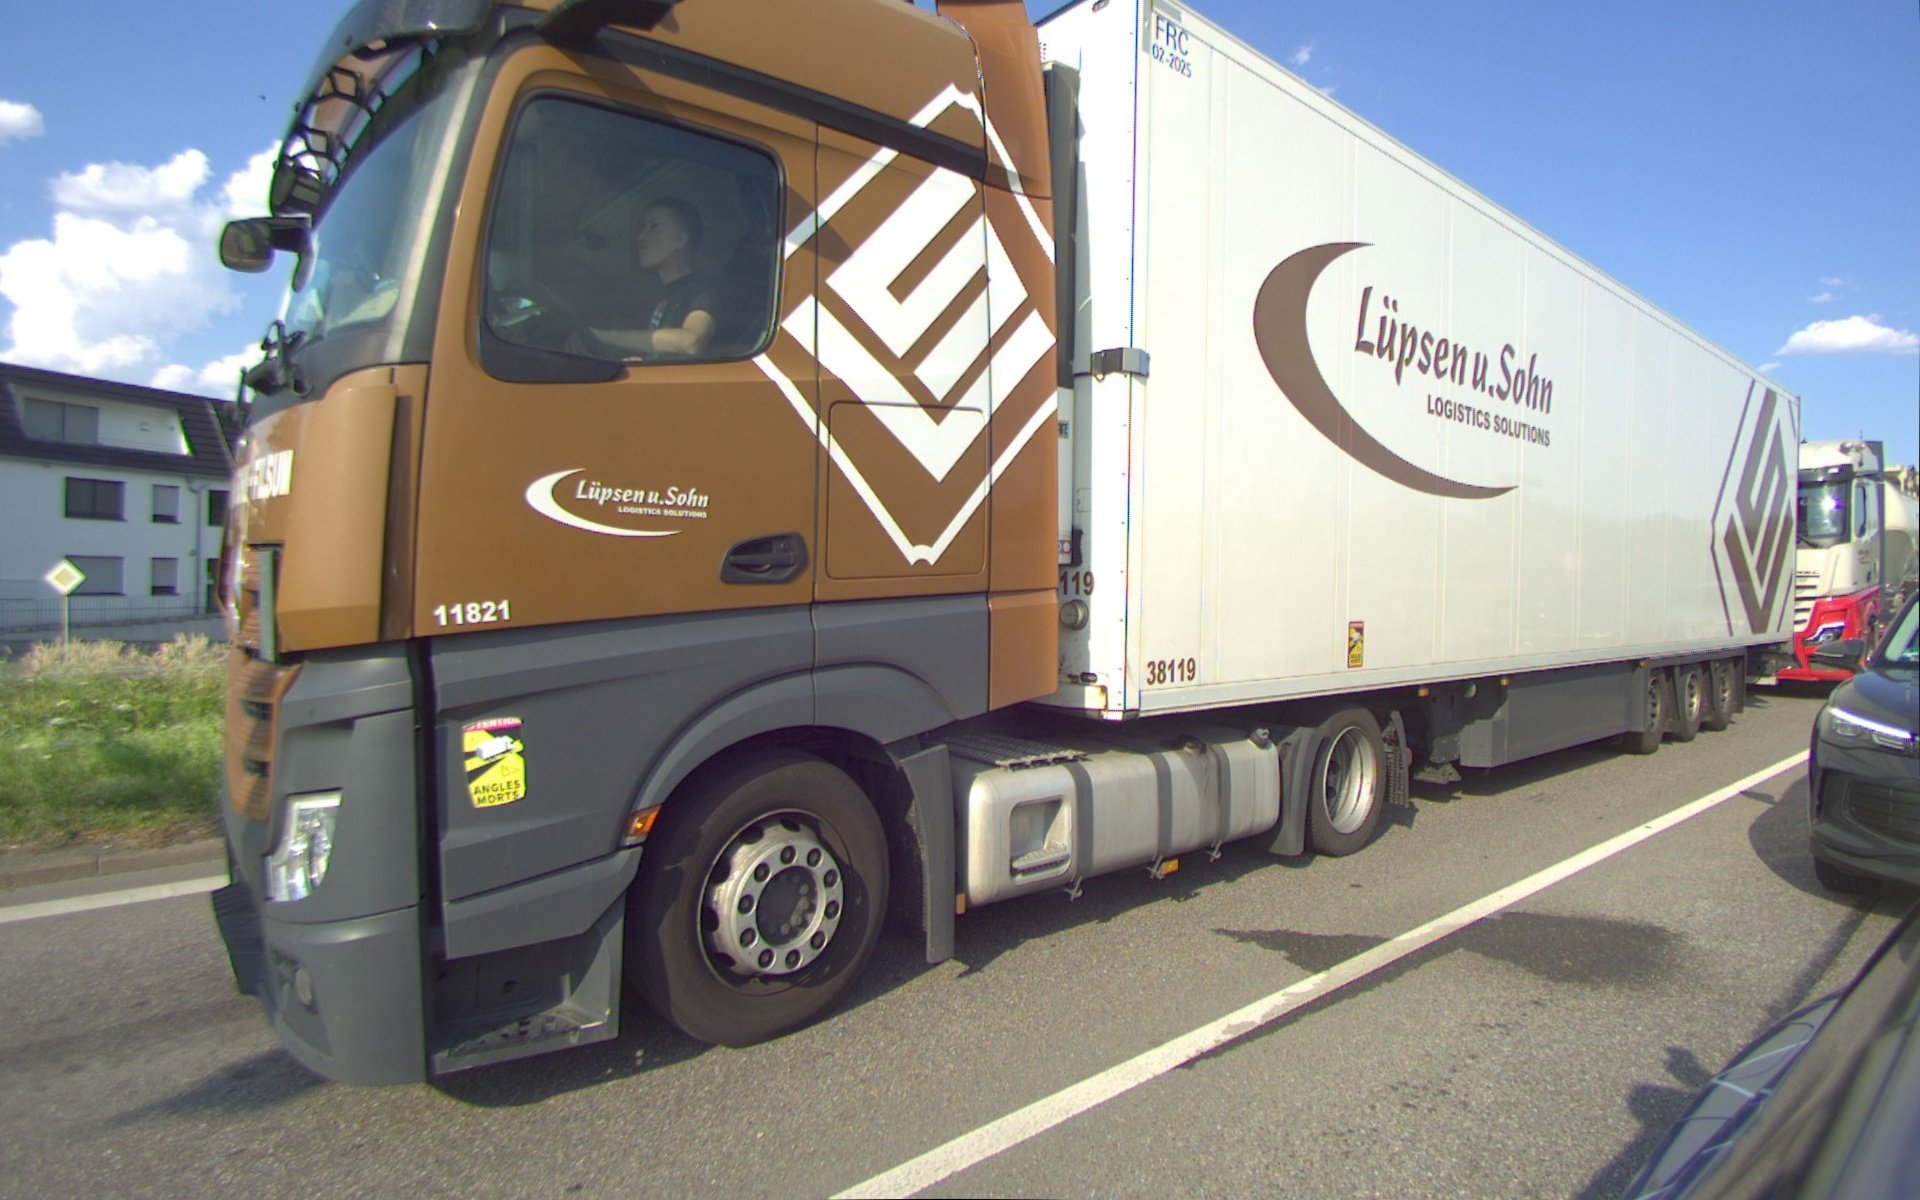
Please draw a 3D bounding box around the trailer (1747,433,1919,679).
[{"bbox_3d":[17.806,-0.727,19.577,9.358,3.825,2.262,-1,0,-41],"label":"trailer"}]

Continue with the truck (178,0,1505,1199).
[{"bbox_3d":[0.118,-0.719,5.262,6.544,4.094,2.537,-1,0,-40],"label":"truck"}]

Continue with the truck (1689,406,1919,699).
[{"bbox_3d":[13.678,-0.669,16.002,5.587,3.853,2.259,-1,0,-41],"label":"truck"}]

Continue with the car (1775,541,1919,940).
[{"bbox_3d":[5.947,0.555,5.202,4.387,1.649,1.788,-1,1,-38],"label":"car"}]

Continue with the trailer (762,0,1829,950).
[{"bbox_3d":[5.018,-0.767,9.420,14.083,4.118,2.536,0,0,-41],"label":"trailer"}]

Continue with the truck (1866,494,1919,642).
[{"bbox_3d":[29.693,-0.905,29.963,12.671,3.821,2.527,-1,1,-40],"label":"truck"}]
